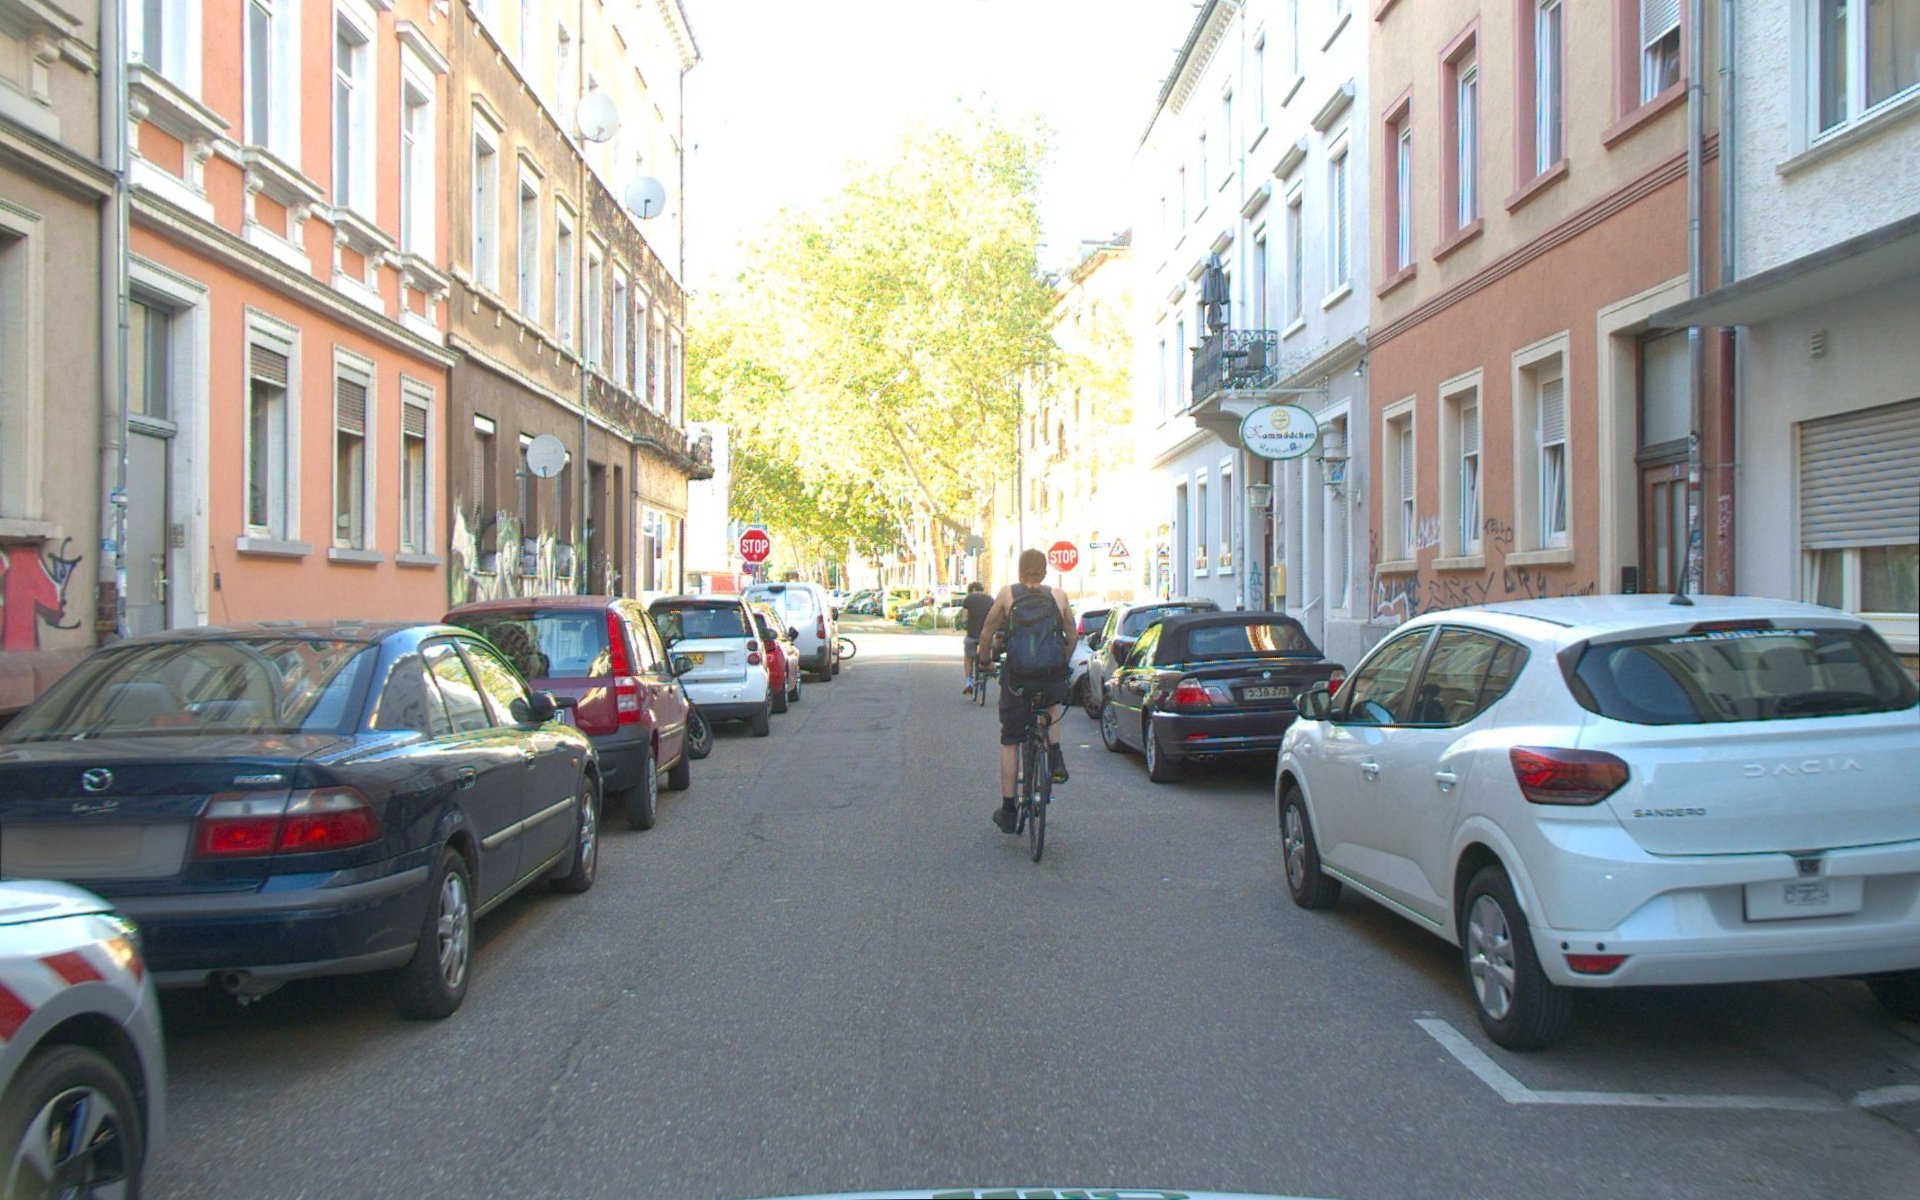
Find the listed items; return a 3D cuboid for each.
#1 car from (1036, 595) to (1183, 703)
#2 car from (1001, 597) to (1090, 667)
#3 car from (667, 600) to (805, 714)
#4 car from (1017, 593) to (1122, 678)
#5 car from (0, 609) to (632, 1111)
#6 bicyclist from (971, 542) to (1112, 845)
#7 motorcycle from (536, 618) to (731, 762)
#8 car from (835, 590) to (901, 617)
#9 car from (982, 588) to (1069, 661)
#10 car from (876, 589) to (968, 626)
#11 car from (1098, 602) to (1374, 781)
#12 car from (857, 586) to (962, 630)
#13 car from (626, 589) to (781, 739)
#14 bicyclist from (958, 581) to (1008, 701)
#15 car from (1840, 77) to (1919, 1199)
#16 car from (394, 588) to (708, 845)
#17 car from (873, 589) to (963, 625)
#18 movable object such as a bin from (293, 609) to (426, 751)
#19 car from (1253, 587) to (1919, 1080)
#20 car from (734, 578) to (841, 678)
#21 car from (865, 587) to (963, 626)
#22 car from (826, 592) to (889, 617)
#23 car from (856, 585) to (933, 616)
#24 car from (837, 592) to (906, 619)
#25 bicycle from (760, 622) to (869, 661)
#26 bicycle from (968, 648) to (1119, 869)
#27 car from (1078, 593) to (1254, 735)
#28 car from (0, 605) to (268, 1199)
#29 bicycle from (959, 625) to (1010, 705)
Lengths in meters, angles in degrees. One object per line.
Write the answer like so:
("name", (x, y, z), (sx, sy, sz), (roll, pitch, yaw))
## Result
("car", (2.208, 0.691, 25.399), (1.676, 1.496, 3.997), (-1, 0, -3))
("car", (1.923, 0.696, 38.075), (1.653, 1.497, 3.572), (-1, 0, -3))
("car", (-3.063, 0.735, 23.179), (1.521, 1.424, 3.666), (-1, 0, -2))
("car", (2.103, 0.659, 32.504), (1.619, 1.557, 3.572), (-1, 0, -3))
("car", (-2.632, 0.790, 7.090), (1.671, 1.438, 4.301), (-1, 0, -1))
("bicyclist", (0.467, 0.532, 9.971), (0.725, 1.708, 1.116), (1, 0, -2))
("motorcycle", (-3.098, 0.826, 15.661), (1.766, 1.278, 0.707), (-1, 0, -16))
("car", (-6.248, 0.250, 111.689), (4.383, 1.725, 1.864), (-1, 0, -6))
("car", (1.656, 0.605, 43.084), (1.855, 1.800, 3.997), (-1, 0, -4))
("car", (-1.868, 0.341, 80.621), (4.383, 1.725, 1.864), (-1, 0, -6))
("car", (2.334, 0.718, 14.964), (1.624, 1.362, 3.997), (-1, 0, -3))
("car", (-2.173, 0.332, 70.891), (4.383, 1.790, 1.864), (-1, 0, -6))
("car", (-2.931, 0.678, 19.418), (1.514, 1.578, 3.462), (-1, 0, -5))
("bicyclist", (0.324, 0.574, 23.789), (0.656, 1.687, 0.877), (-1, 0, -2))
("car", (3.048, 0.259, 0.573), (2.160, 2.595, 6.034), (-1, 0, -1))
("car", (-2.815, 0.719, 12.045), (1.573, 1.556, 3.377), (-2, 0, -3))
("car", (-2.124, 0.357, 82.927), (4.383, 1.725, 1.864), (-1, 0, -6))
("movable object such as a bin", (-5.288, 0.693, 14.601), (0.817, 1.146, 0.716), (-5, 0, 1))
("car", (2.605, 0.707, 7.153), (1.697, 1.496, 4.018), (-1, 0, -4))
("car", (-3.233, 0.501, 31.613), (1.752, 1.767, 3.874), (-1, 0, -2))
("car", (-2.149, 0.303, 76.038), (4.383, 1.725, 1.864), (-1, 0, -6))
("car", (-7.371, 0.320, 118.737), (4.383, 1.725, 1.864), (-1, 0, -6))
("car", (-3.816, 0.038, 95.921), (4.383, 1.725, 1.864), (-1, 0, -6))
("car", (-5.839, 0.360, 108.841), (4.383, 1.725, 1.864), (-1, 0, -6))
("bicycle", (-3.605, 1.012, 40.990), (2.662, 0.907, 0.618), (-1, 0, -4))
("bicycle", (0.458, 0.891, 9.992), (0.725, 1.120, 2.041), (1, 0, -2))
("car", (2.380, 0.688, 19.945), (1.560, 1.518, 3.875), (-1, 0, -1))
("car", (-2.558, 0.761, 2.137), (1.639, 1.455, 3.888), (-1, 0, 1))
("bicycle", (0.339, 0.911, 23.851), (0.650, 1.055, 1.958), (-1, 0, -1))
